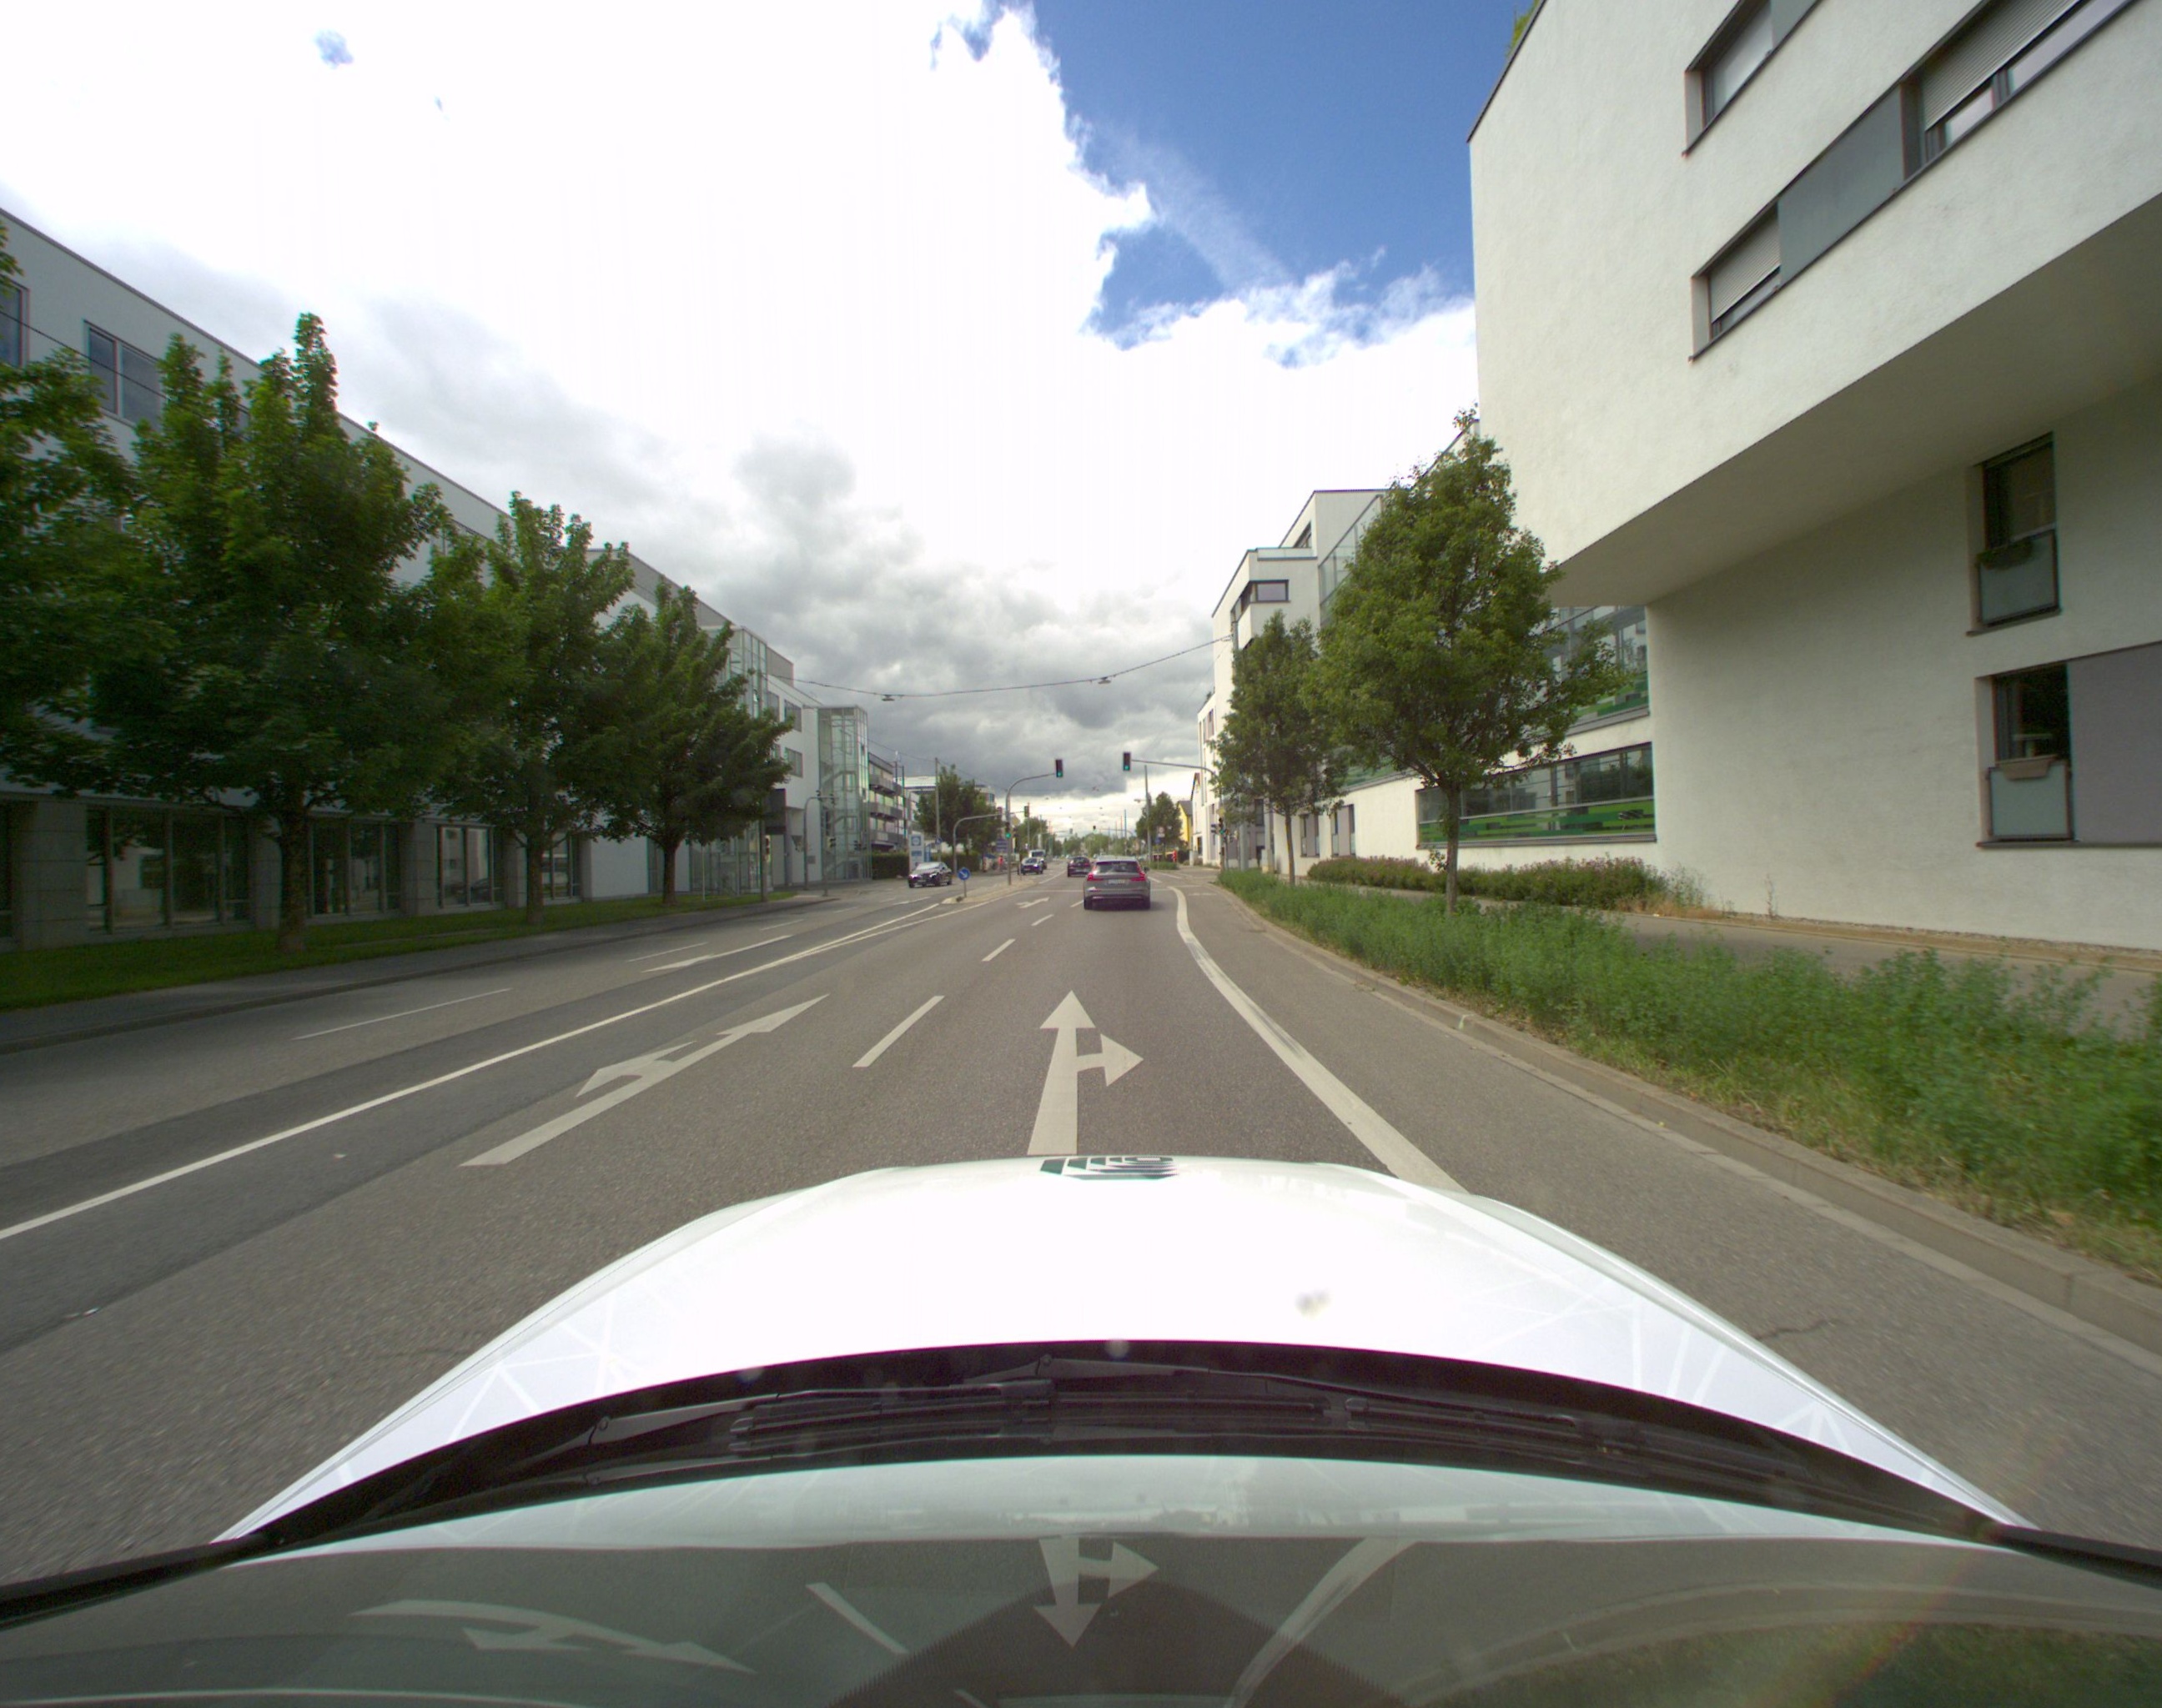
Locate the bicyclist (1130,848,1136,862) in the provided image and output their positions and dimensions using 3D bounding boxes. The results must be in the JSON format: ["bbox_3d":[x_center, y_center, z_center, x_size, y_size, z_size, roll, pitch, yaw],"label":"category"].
[{"bbox_3d":[6.567,0.097,102.798,0.635,1.675,0.890,-5,0,1],"label":"bicyclist"}]

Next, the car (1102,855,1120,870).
[{"bbox_3d":[3.454,1.018,94.487,1.987,1.695,4.000,0,-1,1],"label":"car"}]

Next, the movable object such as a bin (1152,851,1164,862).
[{"bbox_3d":[10.276,0.314,108.628,1.308,1.361,1.257,-2,-2,17],"label":"movable object such as a bin"}]

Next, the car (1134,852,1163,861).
[{"bbox_3d":[11.390,0.398,137.675,4.681,1.493,2.046,-1,0,0],"label":"car"}]

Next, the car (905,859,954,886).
[{"bbox_3d":[-9.261,1.108,50.043,2.018,1.445,5.048,-4,-1,-1],"label":"car"}]

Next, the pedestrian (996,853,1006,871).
[{"bbox_3d":[-8.762,0.877,88.988,0.717,2.014,0.815,-1,-2,44],"label":"pedestrian"}]

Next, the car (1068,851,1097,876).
[{"bbox_3d":[0.090,0.679,57.314,1.988,1.717,3.998,0,-1,-1],"label":"car"}]

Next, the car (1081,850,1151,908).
[{"bbox_3d":[1.018,0.693,23.841,1.888,1.554,4.002,0,-1,2],"label":"car"}]

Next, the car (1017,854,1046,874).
[{"bbox_3d":[-4.281,0.876,71.145,1.877,1.552,4.544,-3,-1,4],"label":"car"}]

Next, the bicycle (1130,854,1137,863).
[{"bbox_3d":[6.608,0.541,102.693,0.635,1.063,1.978,-5,0,2],"label":"bicycle"}]

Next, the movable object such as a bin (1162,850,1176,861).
[{"bbox_3d":[11.715,0.223,108.795,1.306,1.435,1.259,-3,-2,38],"label":"movable object such as a bin"}]

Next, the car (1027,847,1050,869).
[{"bbox_3d":[-5.191,0.506,100.561,2.134,2.471,6.076,-4,0,2],"label":"car"}]

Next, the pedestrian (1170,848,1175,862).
[{"bbox_3d":[12.021,0.128,106.980,0.503,1.765,0.503,0,-1,17],"label":"pedestrian"}]
